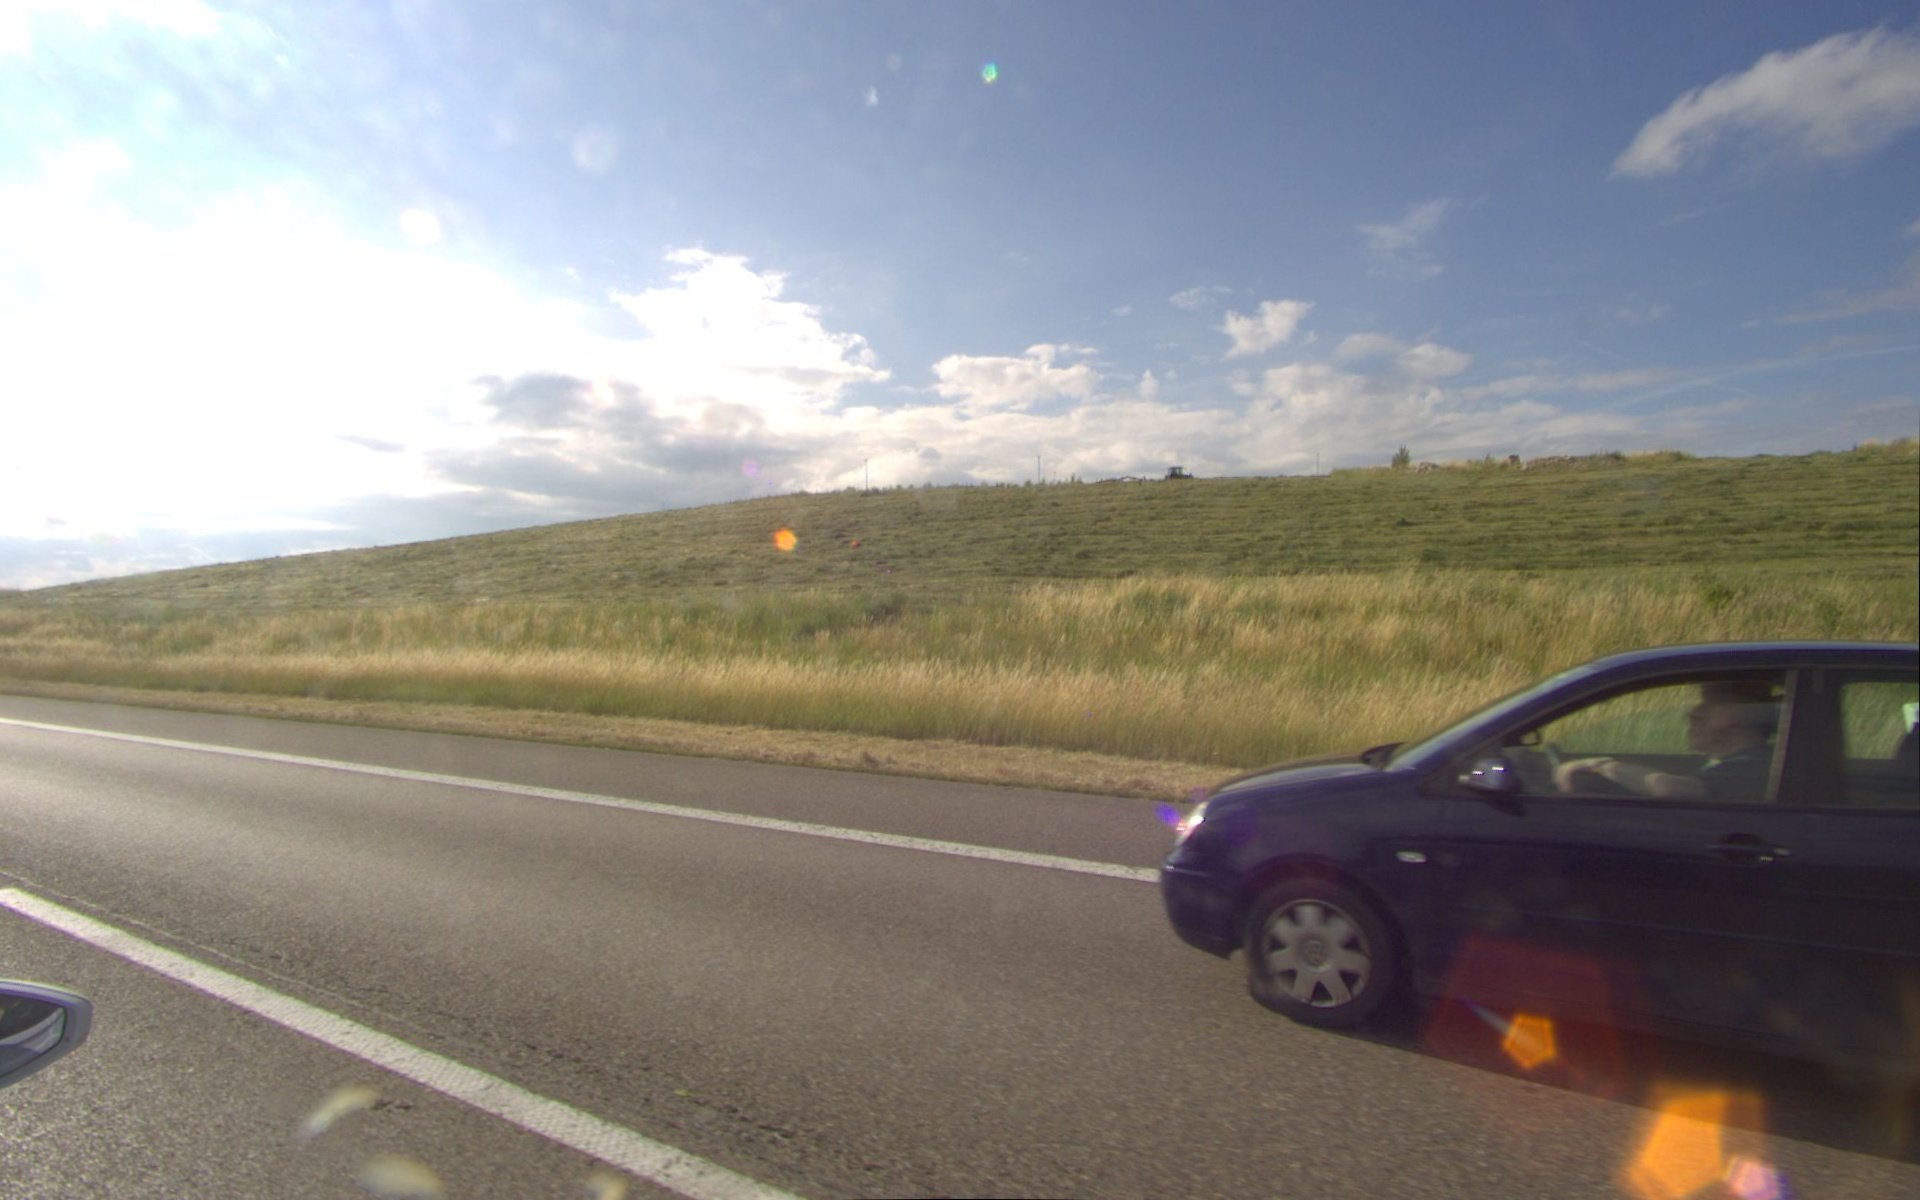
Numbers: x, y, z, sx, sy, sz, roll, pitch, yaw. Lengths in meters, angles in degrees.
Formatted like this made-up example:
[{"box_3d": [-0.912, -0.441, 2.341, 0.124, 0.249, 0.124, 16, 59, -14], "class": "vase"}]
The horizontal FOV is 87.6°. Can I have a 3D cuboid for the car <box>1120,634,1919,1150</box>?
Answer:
[{"box_3d": [2.601, 0.852, 3.794, 3.619, 1.438, 1.603, -1, -2, 31], "class": "car"}]
